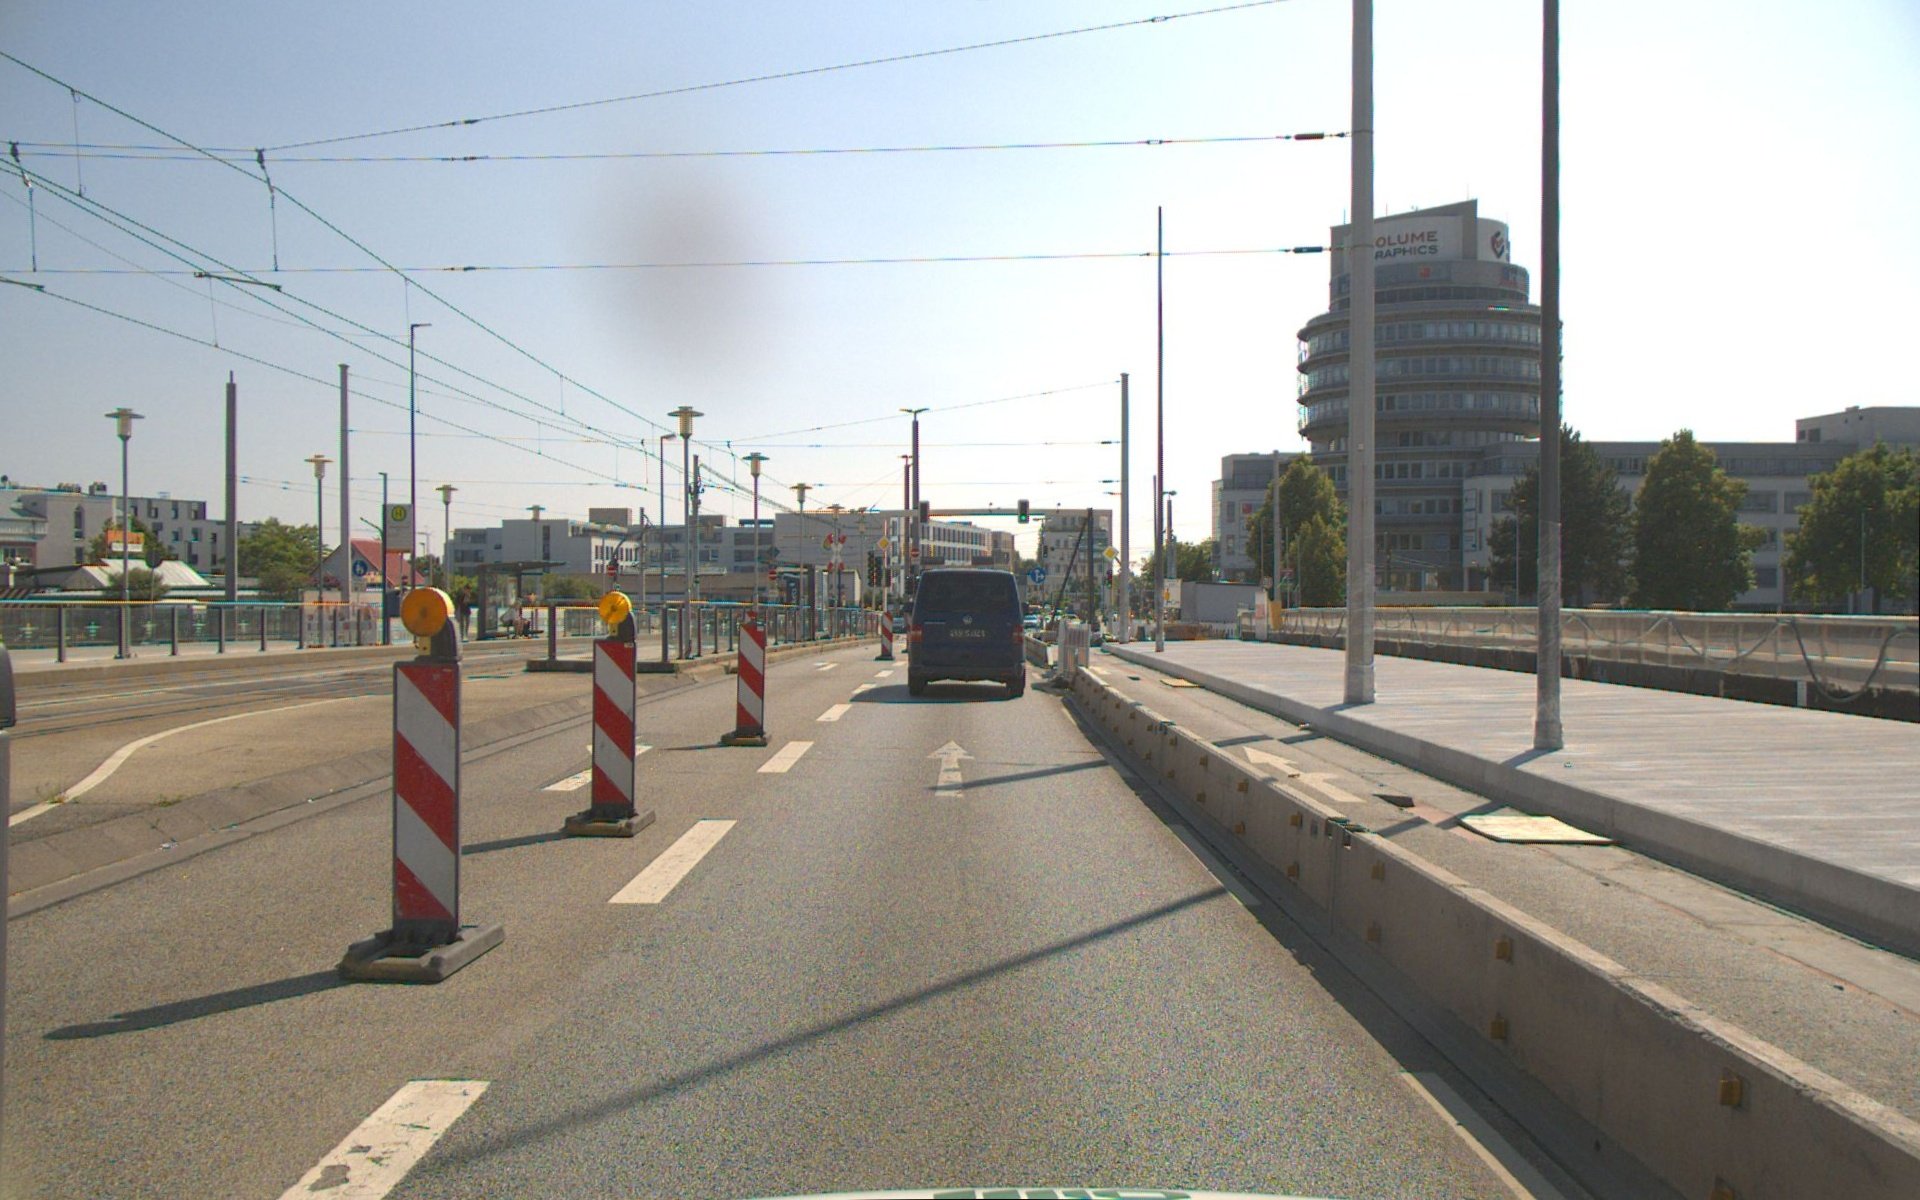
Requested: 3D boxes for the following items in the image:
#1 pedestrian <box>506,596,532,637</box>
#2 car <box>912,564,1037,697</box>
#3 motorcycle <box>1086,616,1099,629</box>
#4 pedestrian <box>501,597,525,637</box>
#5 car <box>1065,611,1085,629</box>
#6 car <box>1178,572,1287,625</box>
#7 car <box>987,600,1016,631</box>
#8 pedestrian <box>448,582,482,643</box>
[{"bbox_3d":[-14.356,0.534,53.883,0.634,1.296,0.697,0,0,4],"label":"pedestrian"},{"bbox_3d":[0.208,0.440,27.065,1.849,1.968,4.000,2,1,-1],"label":"car"},{"bbox_3d":[14.327,2.453,178.515,1.137,1.264,3.010,2,1,9],"label":"motorcycle"},{"bbox_3d":[-14.398,0.538,53.297,0.634,1.296,0.453,0,0,4],"label":"pedestrian"},{"bbox_3d":[9.816,1.719,141.555,1.708,1.501,3.886,0,0,3],"label":"car"},{"bbox_3d":[15.989,-0.079,97.088,5.849,2.937,2.339,1,1,-14],"label":"car"},{"bbox_3d":[2.523,0.937,100.356,1.611,1.758,3.718,2,0,3],"label":"car"},{"bbox_3d":[-13.864,0.353,46.353,0.646,1.683,0.740,0,0,12],"label":"pedestrian"}]
